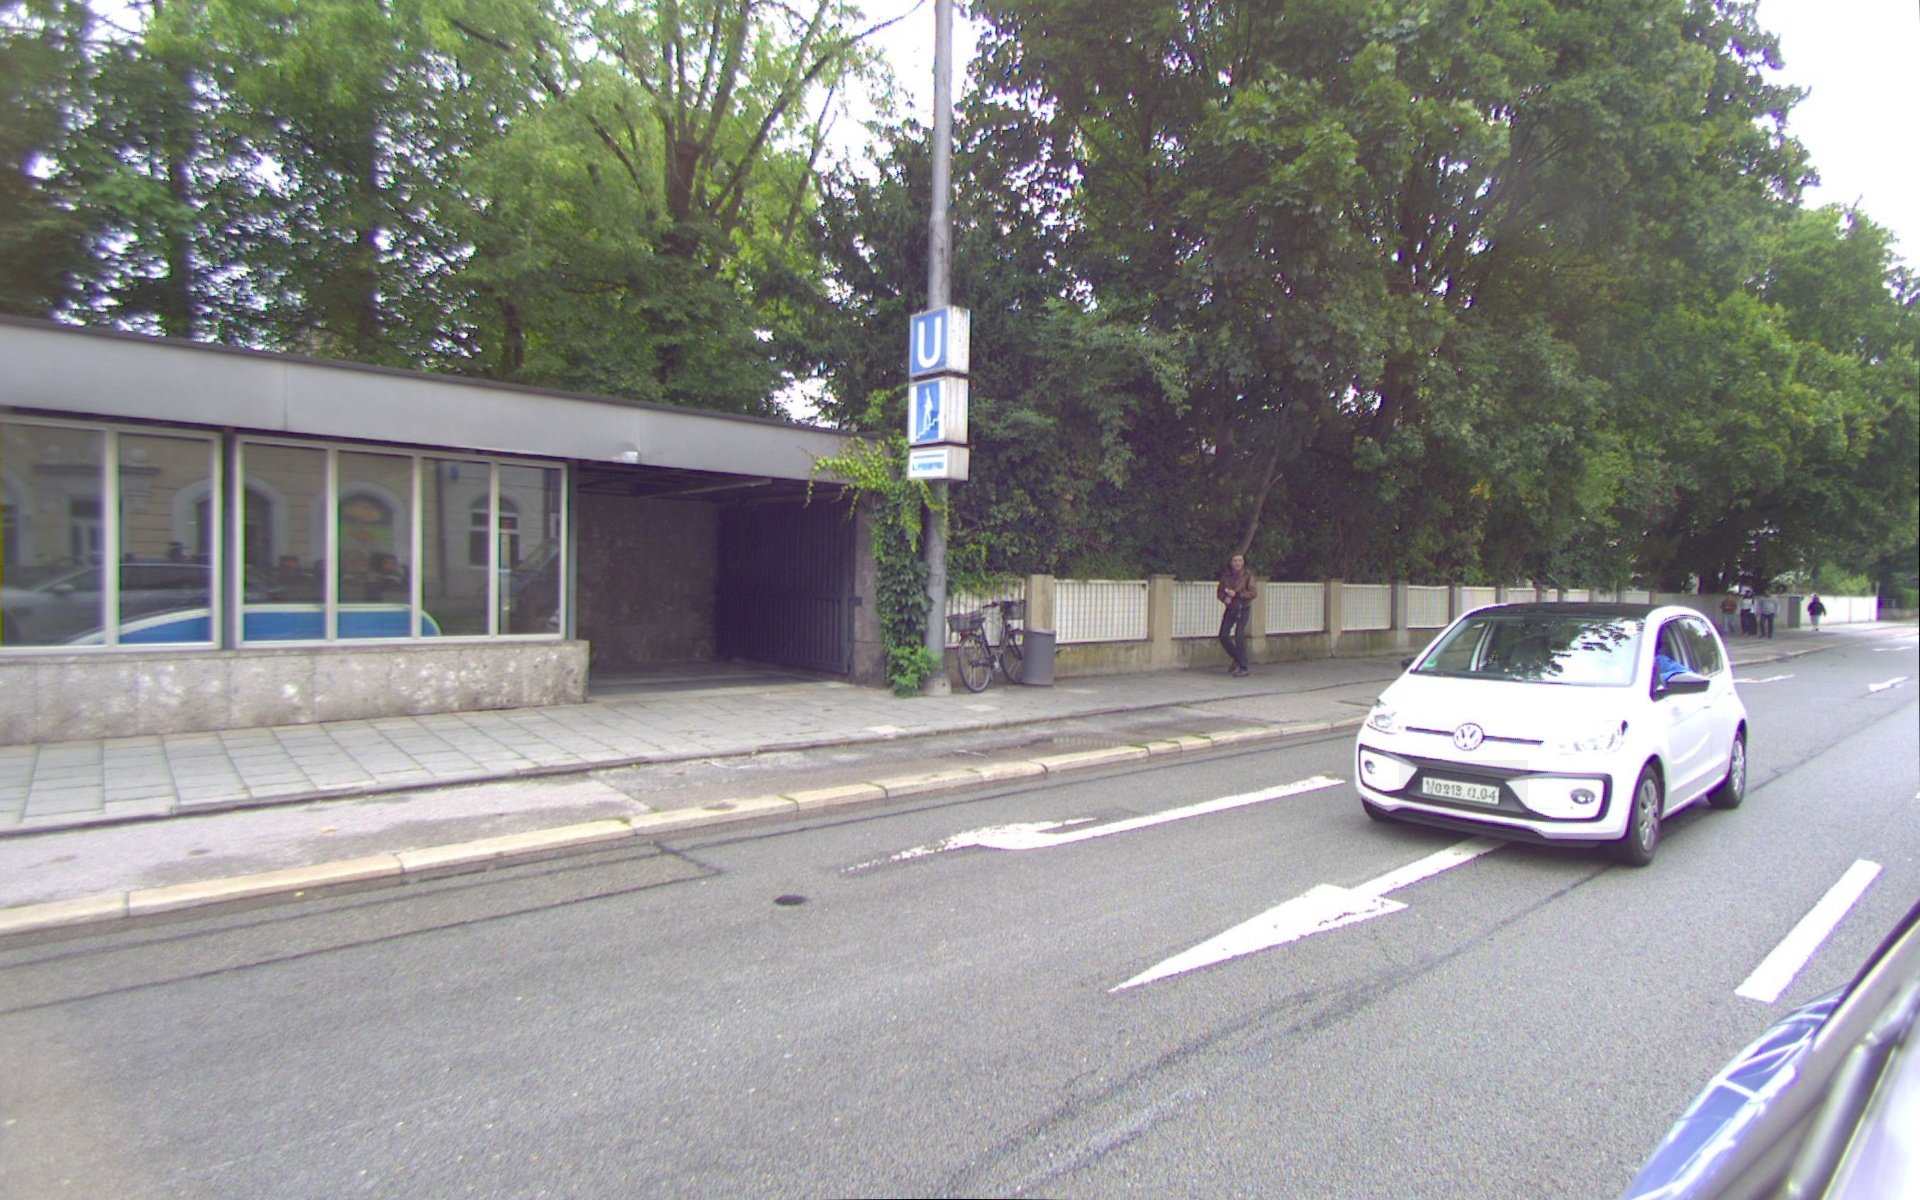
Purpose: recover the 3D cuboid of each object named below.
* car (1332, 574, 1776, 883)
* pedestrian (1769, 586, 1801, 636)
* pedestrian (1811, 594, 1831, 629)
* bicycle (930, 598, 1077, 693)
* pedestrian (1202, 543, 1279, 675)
[{"bbox_3d":[4.238,0.645,7.011,3.524,1.581,1.645,0,1,-42],"label":"car"},{"bbox_3d":[29.081,0.378,35.671,0.753,1.726,0.667,0,3,-42],"label":"pedestrian"},{"bbox_3d":[40.569,0.529,47.674,0.716,1.600,0.529,0,3,-42],"label":"pedestrian"},{"bbox_3d":[0.589,0.539,12.908,1.991,1.104,0.623,0,1,-41],"label":"bicycle"},{"bbox_3d":[4.314,0.115,15.590,0.788,1.966,0.779,0,2,-40],"label":"pedestrian"}]
